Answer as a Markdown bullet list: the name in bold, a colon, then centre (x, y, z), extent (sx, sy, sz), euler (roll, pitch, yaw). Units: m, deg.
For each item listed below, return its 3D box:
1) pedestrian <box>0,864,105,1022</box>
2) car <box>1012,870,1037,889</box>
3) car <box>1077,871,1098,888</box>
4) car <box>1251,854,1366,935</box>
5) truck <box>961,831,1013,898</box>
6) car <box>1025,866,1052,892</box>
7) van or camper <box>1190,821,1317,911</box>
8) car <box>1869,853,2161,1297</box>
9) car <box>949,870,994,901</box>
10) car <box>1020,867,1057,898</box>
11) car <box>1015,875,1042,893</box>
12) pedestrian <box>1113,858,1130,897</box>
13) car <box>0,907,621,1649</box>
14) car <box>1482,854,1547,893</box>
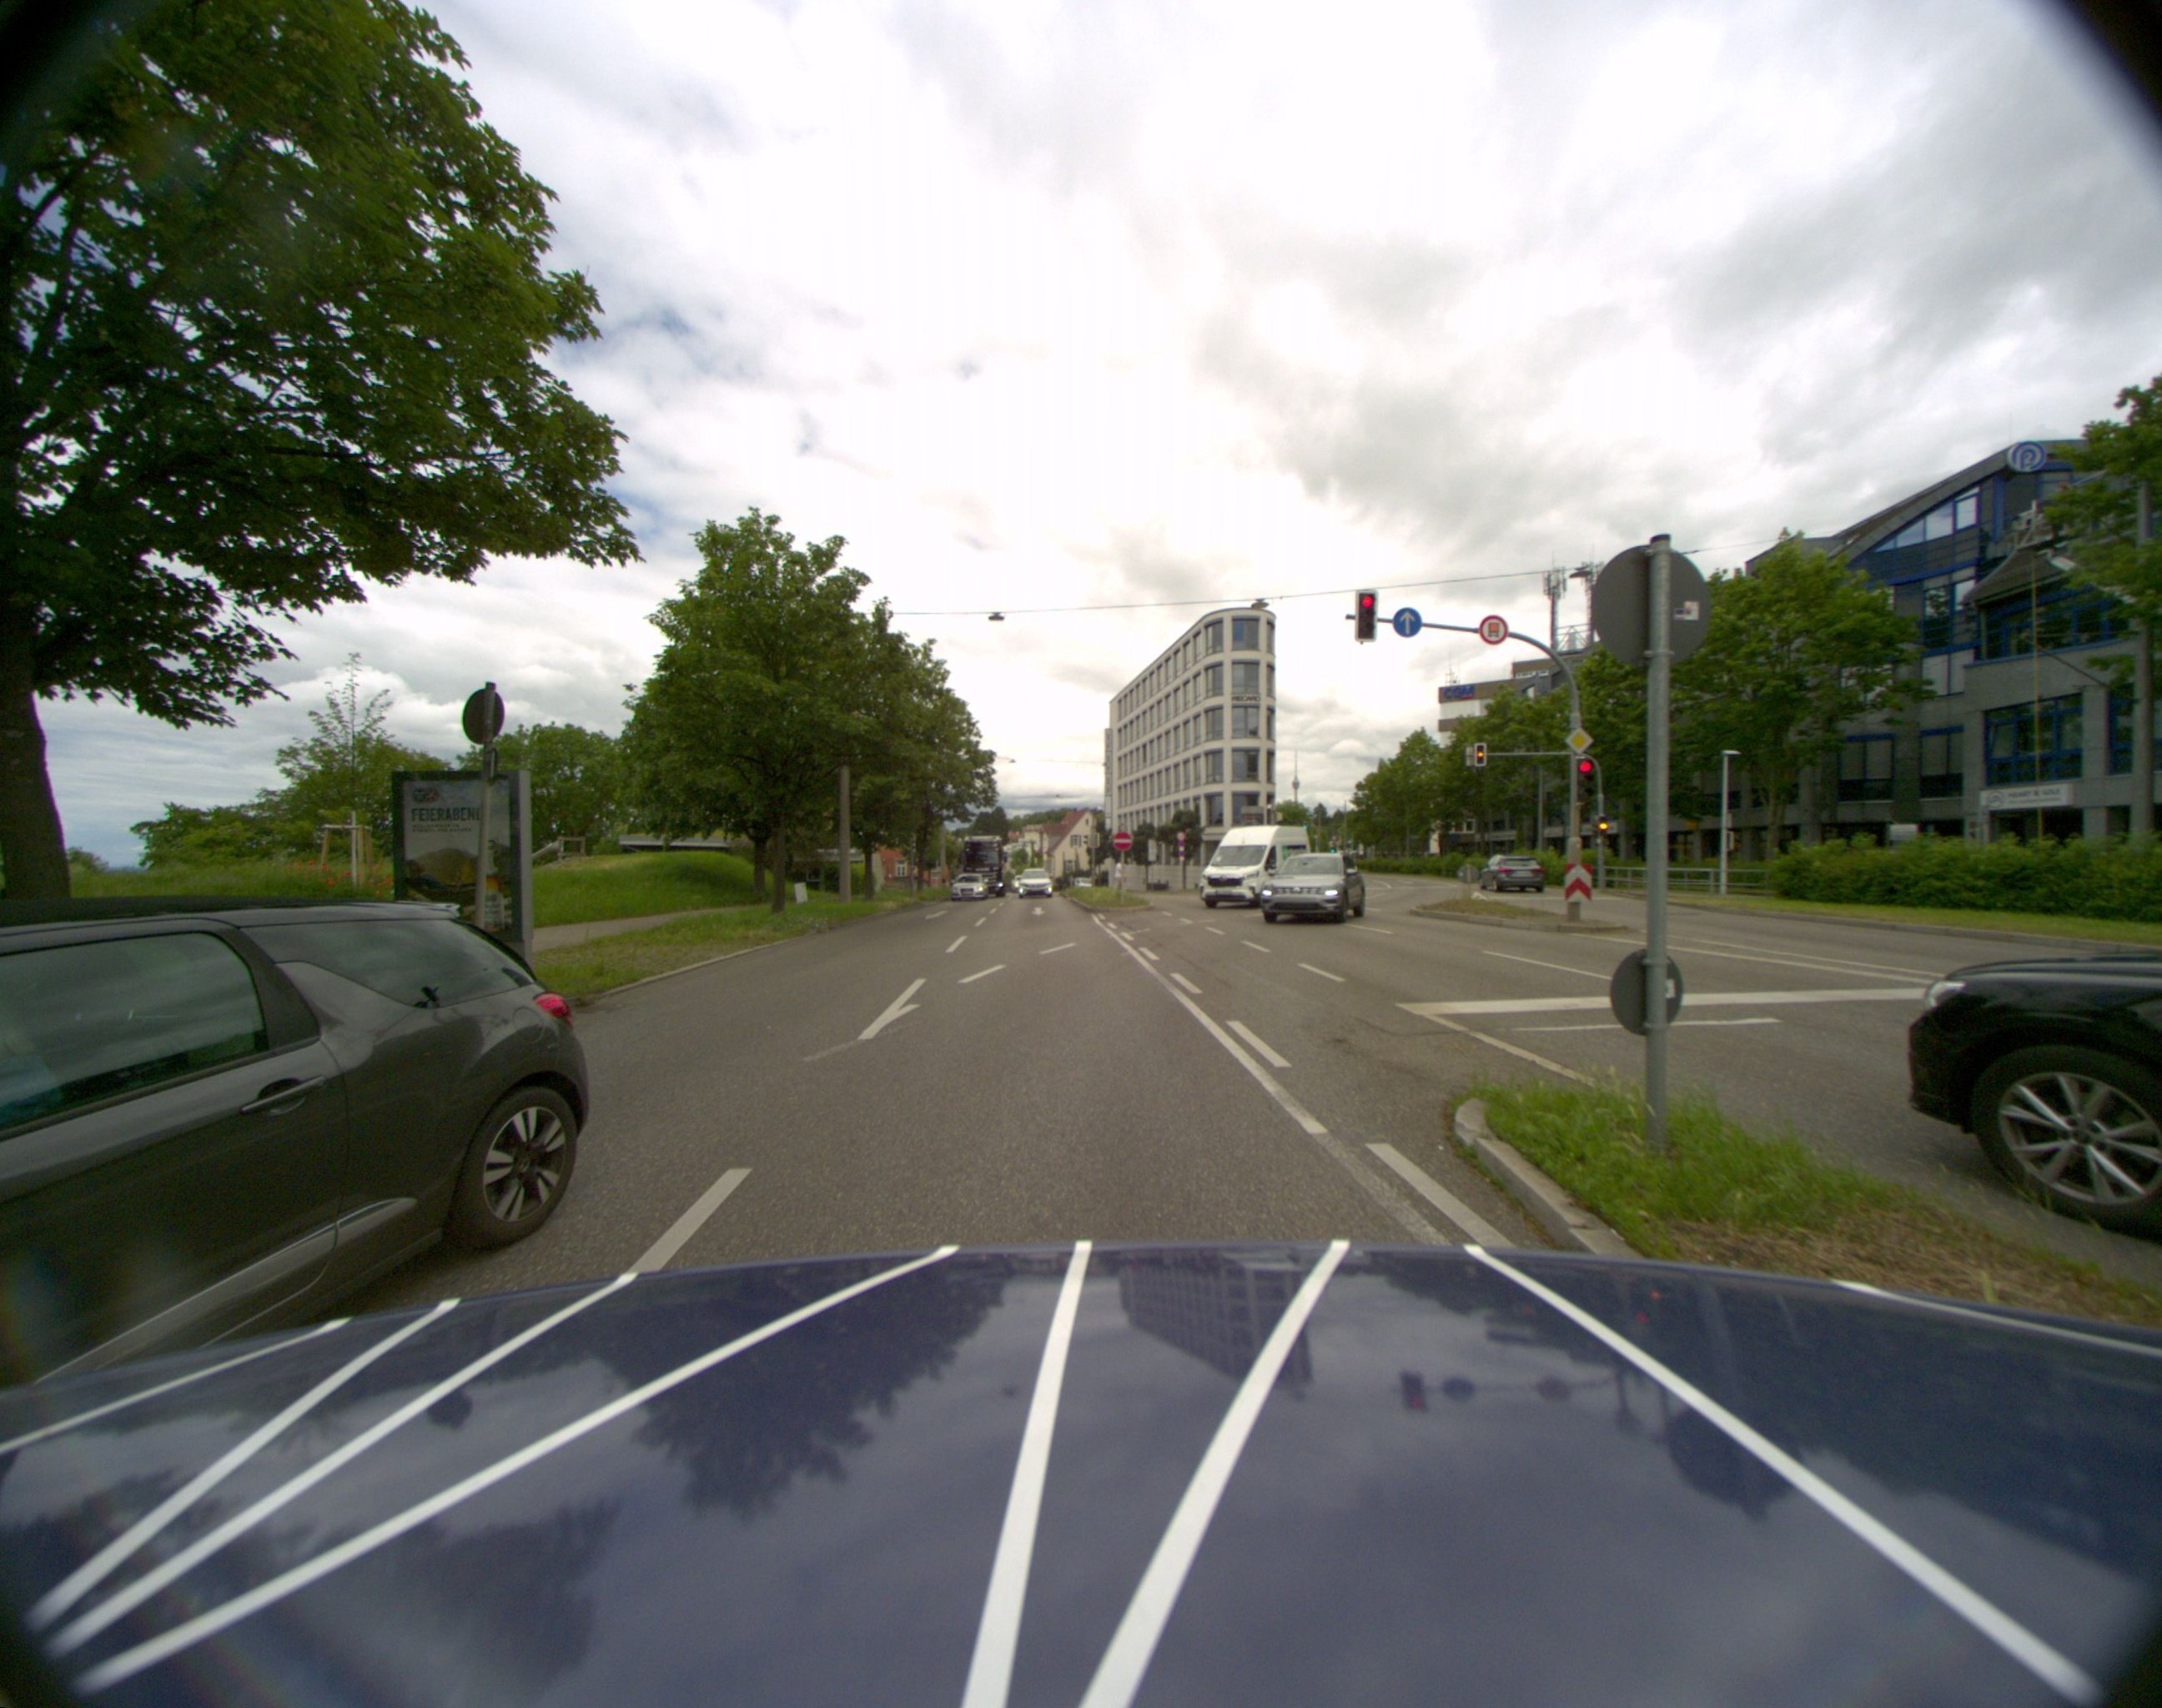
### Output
- **pedestrian**: centre (-11.214, 0.916, 8.121), extent (0.542, 1.594, 0.702), euler (4, 0, -3)
- **car**: centre (-5.235, 2.297, 69.770), extent (1.737, 1.558, 4.323), euler (-3, -1, -10)
- **car**: centre (0.807, 3.189, 96.789), extent (2.177, 2.002, 3.997), euler (-1, 1, -8)
- **car**: centre (5.602, 0.877, 18.307), extent (1.830, 1.636, 4.334), euler (-2, 0, 28)
- **truck**: centre (-6.000, 0.663, 49.933), extent (2.828, 3.902, 9.454), euler (-2, 0, -4)
- **car**: centre (-3.235, 1.818, 56.593), extent (1.755, 1.786, 4.286), euler (-2, -1, -6)
- **van or camper**: centre (6.055, 0.350, 25.913), extent (2.106, 2.674, 6.311), euler (-2, 0, 33)
- **car**: centre (4.860, 0.759, 1.492), extent (1.893, 1.555, 4.395), euler (-2, -1, -4)
- **car**: centre (-5.831, 1.658, 40.760), extent (1.989, 1.434, 4.157), euler (-2, 0, -3)
- **car**: centre (-2.355, 1.549, 42.097), extent (1.855, 1.520, 4.488), euler (-2, -1, -3)
- **car**: centre (-4.382, 2.442, 62.846), extent (1.756, 1.368, 4.284), euler (-2, -1, -10)
- **pedestrian**: centre (1.979, 1.134, 36.991), extent (0.756, 1.906, 0.588), euler (-1, 0, -3)
- **car**: centre (-3.191, 1.007, 1.735), extent (1.705, 1.452, 4.062), euler (-2, 0, 1)
- **car**: centre (18.268, 0.784, 32.209), extent (1.785, 1.528, 4.403), euler (-2, -1, 22)
